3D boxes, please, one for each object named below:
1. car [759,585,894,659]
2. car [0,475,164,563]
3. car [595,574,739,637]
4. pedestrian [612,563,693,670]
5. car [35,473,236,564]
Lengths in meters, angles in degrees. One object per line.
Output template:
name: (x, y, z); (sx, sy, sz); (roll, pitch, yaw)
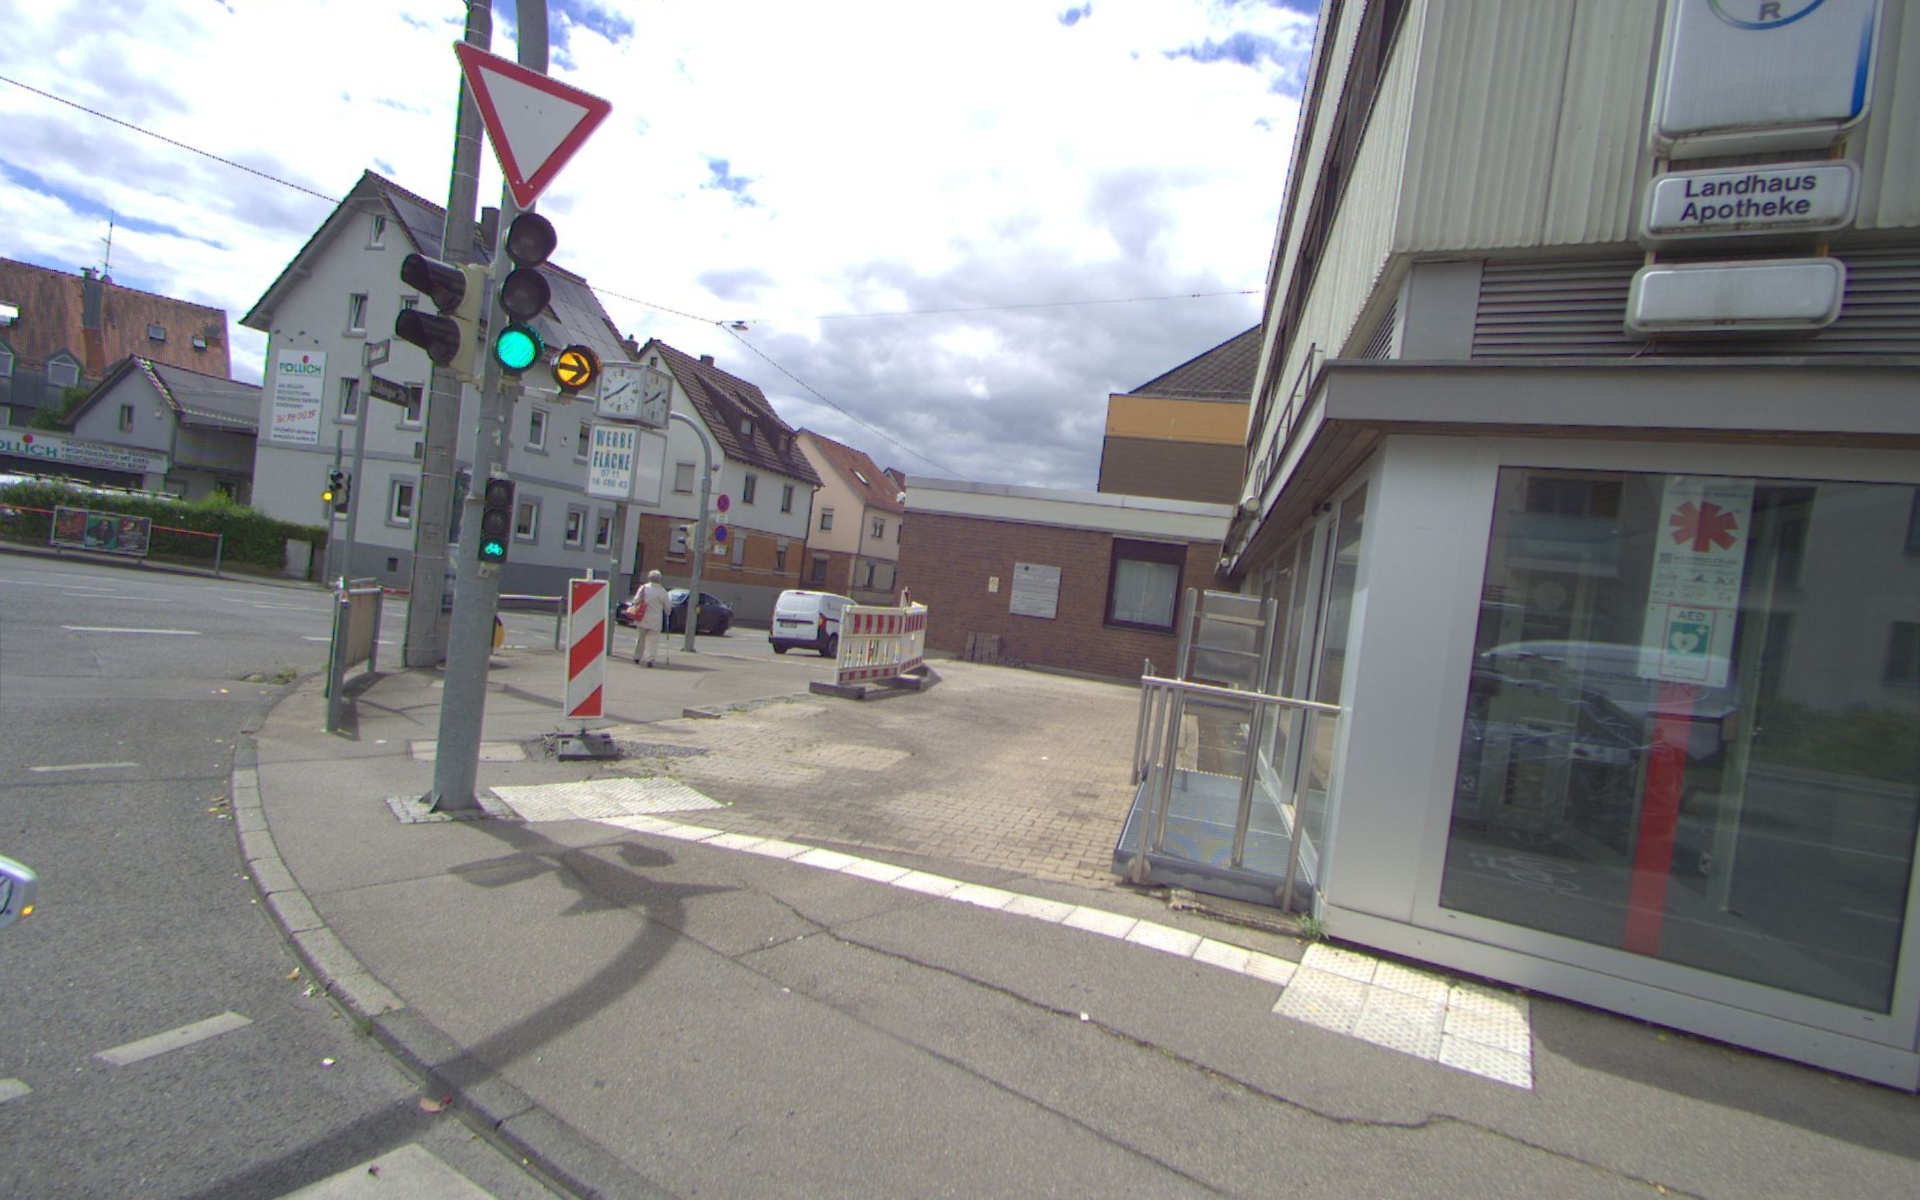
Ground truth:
car: (-3.797, 0.713, 29.573); (1.882, 1.816, 4.491); (7, -1, 20)
car: (-26.471, -2.392, 29.754); (1.963, 2.038, 4.000); (7, -1, 21)
car: (-9.227, 0.224, 32.159); (1.963, 1.474, 4.619); (10, 0, 19)
pedestrian: (-5.076, 0.276, 16.610); (0.831, 1.657, 0.863); (7, -2, -44)
car: (-24.049, -2.332, 29.525); (1.963, 1.971, 4.001); (7, -1, 20)
